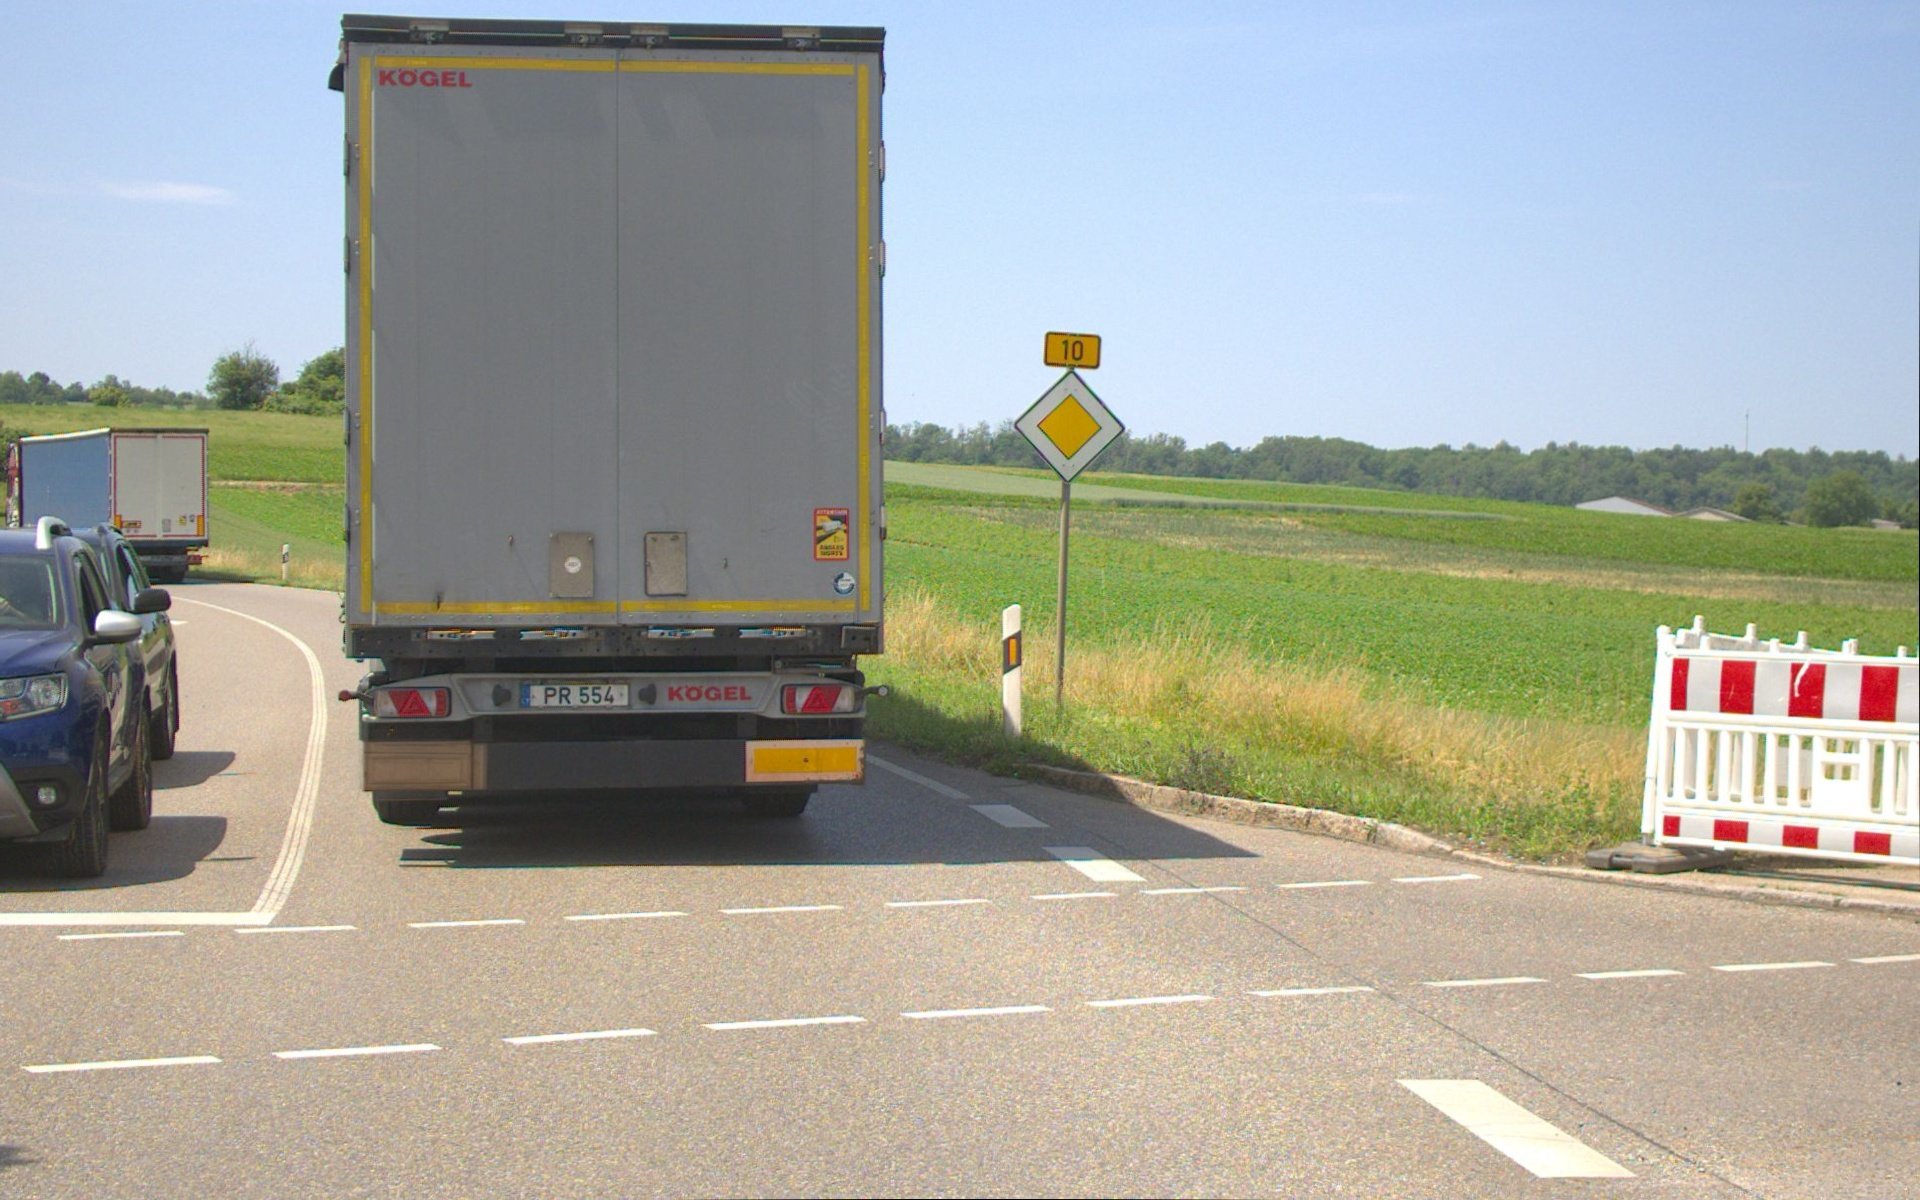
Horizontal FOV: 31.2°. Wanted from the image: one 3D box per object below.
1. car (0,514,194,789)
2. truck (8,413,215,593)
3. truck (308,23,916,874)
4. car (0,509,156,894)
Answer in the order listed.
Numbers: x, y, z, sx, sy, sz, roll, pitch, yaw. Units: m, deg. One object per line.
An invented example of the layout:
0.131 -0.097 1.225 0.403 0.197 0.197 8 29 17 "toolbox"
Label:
-6.186 0.291 22.655 1.771 1.653 4.001 0 0 -6 "car"
-23.864 -2.721 95.836 2.960 4.568 16.321 0 2 -23 "truck"
-2.167 -0.772 20.810 2.807 3.932 9.593 0 1 -7 "truck"
-4.960 0.418 16.628 1.770 1.653 4.001 0 1 -9 "car"
